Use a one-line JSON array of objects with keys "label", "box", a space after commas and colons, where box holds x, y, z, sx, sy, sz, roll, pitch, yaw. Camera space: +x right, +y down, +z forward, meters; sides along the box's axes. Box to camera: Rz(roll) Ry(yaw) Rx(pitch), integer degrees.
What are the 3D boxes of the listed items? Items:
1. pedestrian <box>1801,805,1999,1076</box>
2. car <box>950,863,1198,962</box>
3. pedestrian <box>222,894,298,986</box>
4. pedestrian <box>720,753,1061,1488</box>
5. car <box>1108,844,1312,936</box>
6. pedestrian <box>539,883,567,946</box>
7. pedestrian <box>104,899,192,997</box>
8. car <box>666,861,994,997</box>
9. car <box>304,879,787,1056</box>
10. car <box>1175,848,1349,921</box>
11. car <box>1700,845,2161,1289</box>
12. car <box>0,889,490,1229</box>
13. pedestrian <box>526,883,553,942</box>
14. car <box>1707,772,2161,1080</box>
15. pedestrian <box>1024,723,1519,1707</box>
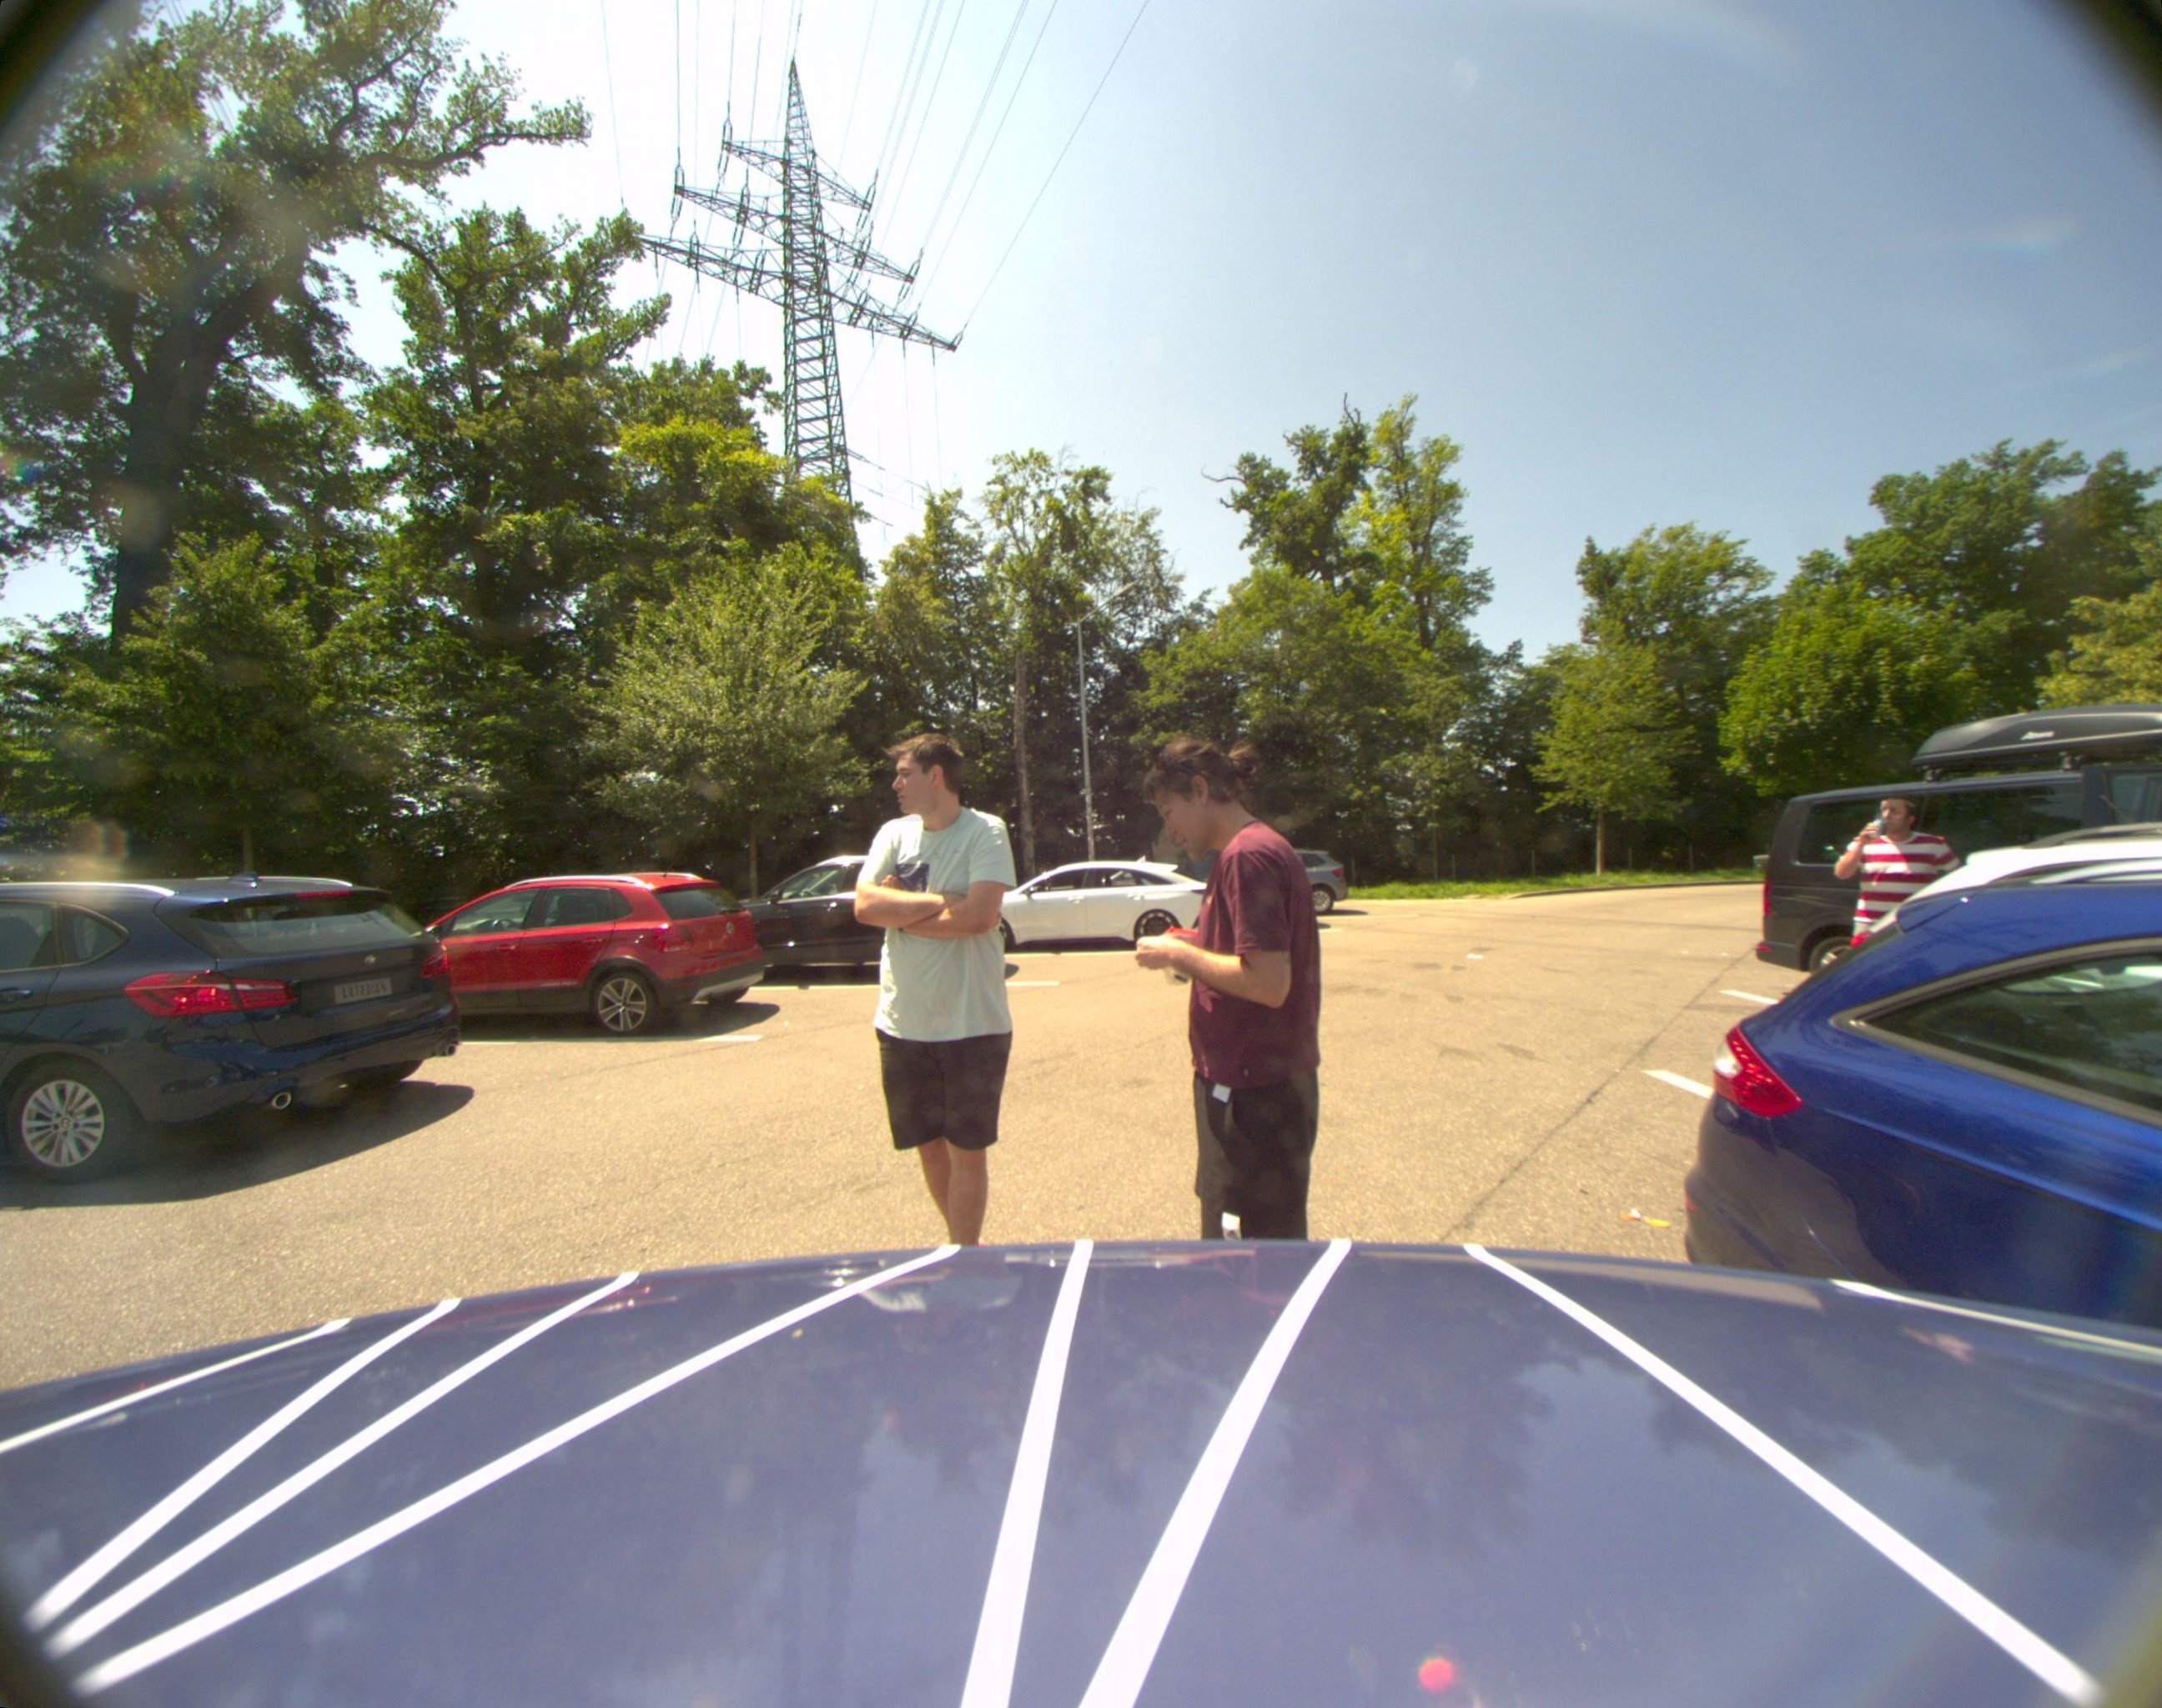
[{"label": "pedestrian", "box": [5.816, 0.552, 5.413, 0.786, 1.744, 0.753, -3, 1, -27]}, {"label": "car", "box": [-0.072, 0.927, 12.683, 3.825, 1.394, 1.651, -2, 1, 4]}, {"label": "pedestrian", "box": [-11.859, 1.222, 10.996, 0.595, 1.238, 0.499, -3, 1, -33]}, {"label": "pedestrian", "box": [-0.514, 0.712, 2.485, 0.813, 1.939, 0.920, -2, 1, -1]}, {"label": "car", "box": [2.609, 0.705, 15.465, 3.822, 1.686, 1.652, -2, 1, 12]}, {"label": "pedestrian", "box": [-10.162, 1.156, 14.633, 0.357, 1.158, 0.384, -3, 2, -41]}, {"label": "pedestrian", "box": [-12.726, 1.262, 10.382, 0.595, 1.238, 0.446, -3, 1, -33]}, {"label": "car", "box": [-3.248, 0.956, 10.308, 3.825, 1.546, 1.651, -2, 1, 4]}, {"label": "car", "box": [-5.229, 1.084, 7.679, 3.823, 1.460, 1.651, -2, 1, 8]}, {"label": "car", "box": [4.269, 0.702, 18.160, 3.822, 1.551, 1.652, -2, 1, 12]}, {"label": "car", "box": [4.647, 0.726, 2.261, 1.757, 1.496, 4.574, -3, -1, -1]}, {"label": "car", "box": [-6.441, 1.082, 4.588, 4.341, 1.544, 1.748, -1, 1, 1]}, {"label": "pedestrian", "box": [-11.006, 1.179, 15.448, 0.357, 1.158, 0.384, -3, 2, -41]}, {"label": "car", "box": [7.376, 0.412, 5.292, 1.758, 1.886, 4.571, -3, -1, -9]}, {"label": "pedestrian", "box": [0.469, 0.712, 1.938, 0.919, 1.894, 0.815, -2, 1, 16]}]
